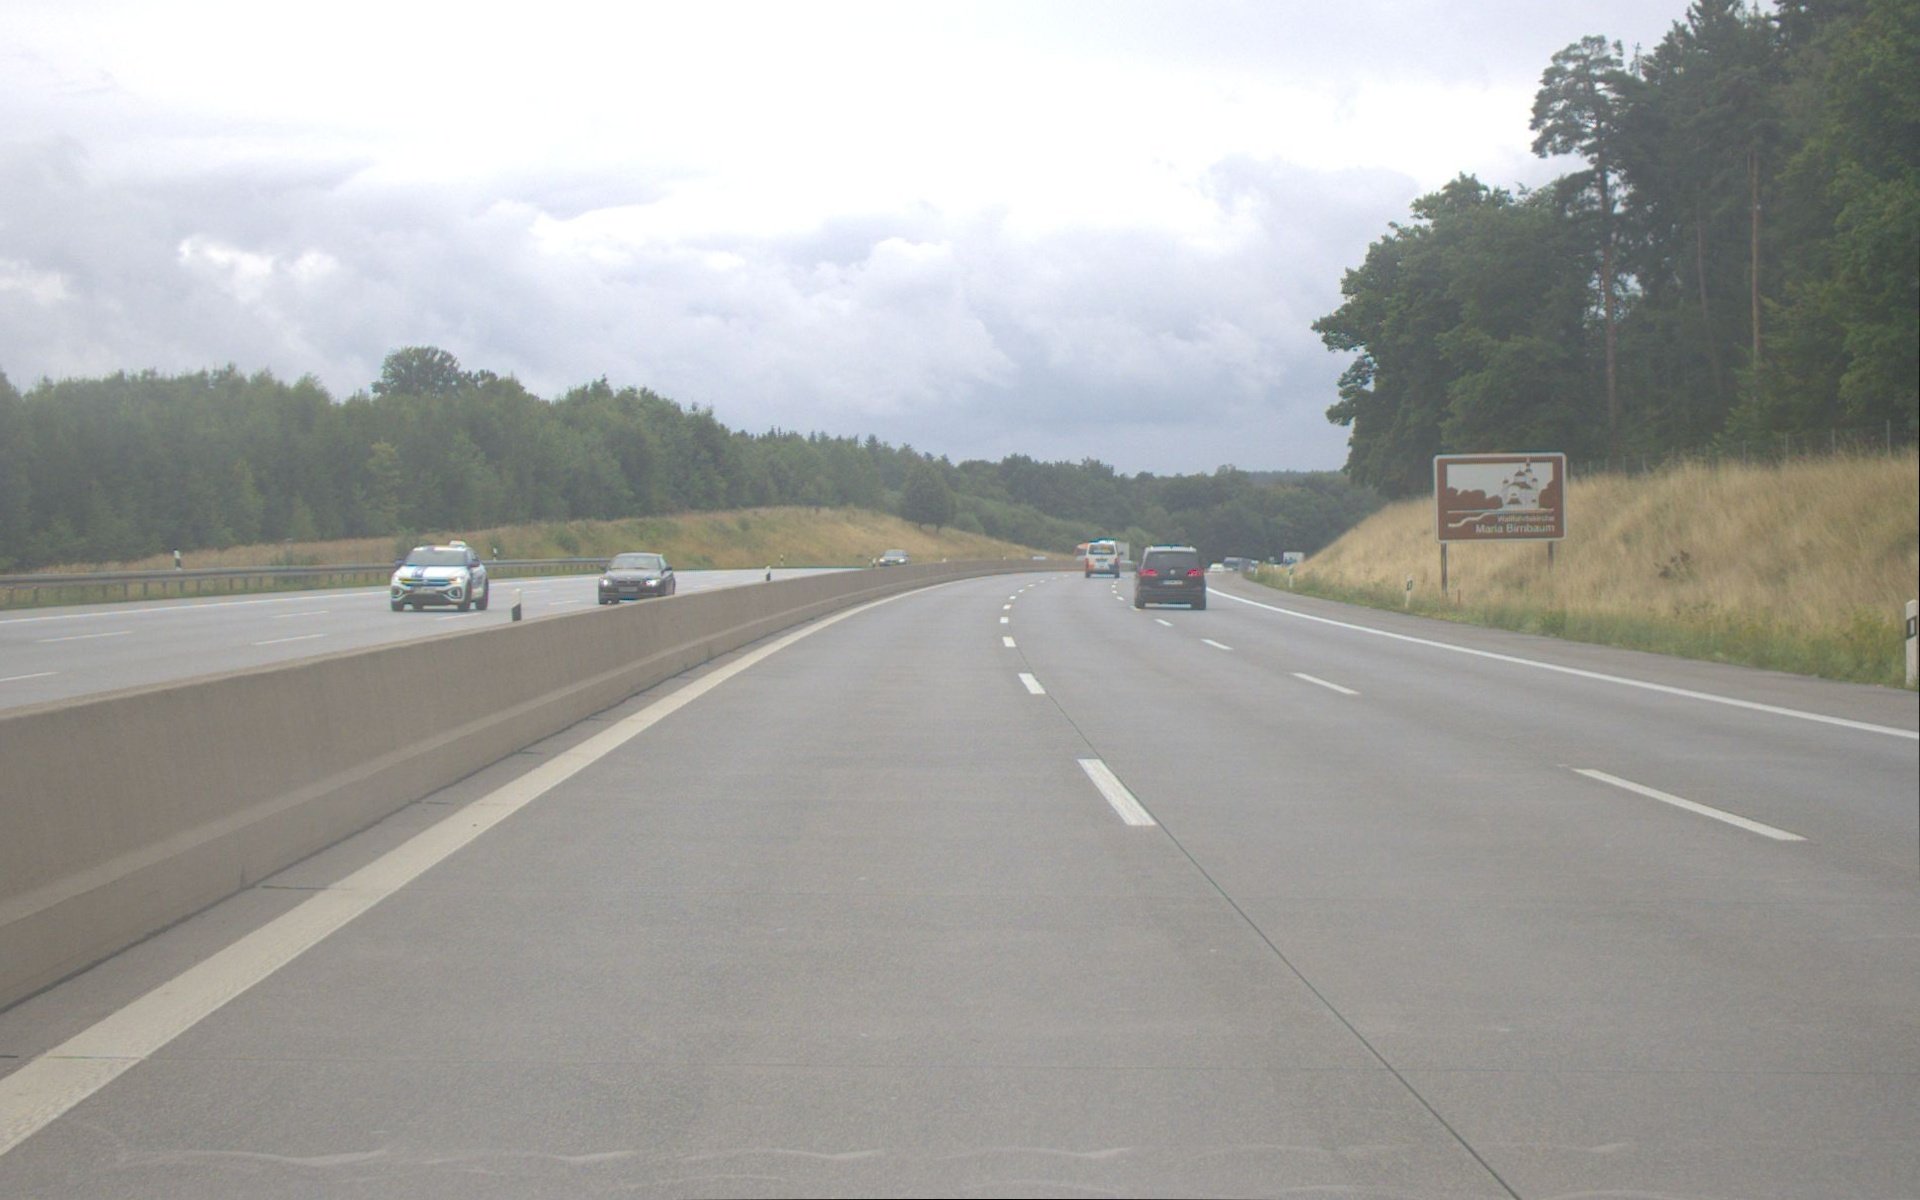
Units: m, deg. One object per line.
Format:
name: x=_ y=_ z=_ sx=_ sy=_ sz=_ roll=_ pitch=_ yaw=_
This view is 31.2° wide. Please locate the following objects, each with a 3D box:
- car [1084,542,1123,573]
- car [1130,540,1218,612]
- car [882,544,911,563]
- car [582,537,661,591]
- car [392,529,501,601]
car: x=7.944 y=-2.373 z=190.261 sx=1.841 sy=1.495 sz=4.001 roll=-3 pitch=2 yaw=-1
car: x=5.752 y=-0.659 z=92.908 sx=1.785 sy=1.741 sz=3.916 roll=-3 pitch=2 yaw=-4
car: x=-4.389 y=-3.204 z=237.333 sx=1.768 sy=1.228 sz=3.955 roll=2 pitch=2 yaw=1
car: x=-9.115 y=-0.955 z=92.796 sx=1.762 sy=1.262 sz=4.494 roll=-1 pitch=-1 yaw=-2
car: x=-12.161 y=-0.867 z=81.666 sx=1.762 sy=1.581 sz=4.757 roll=1 pitch=2 yaw=1
